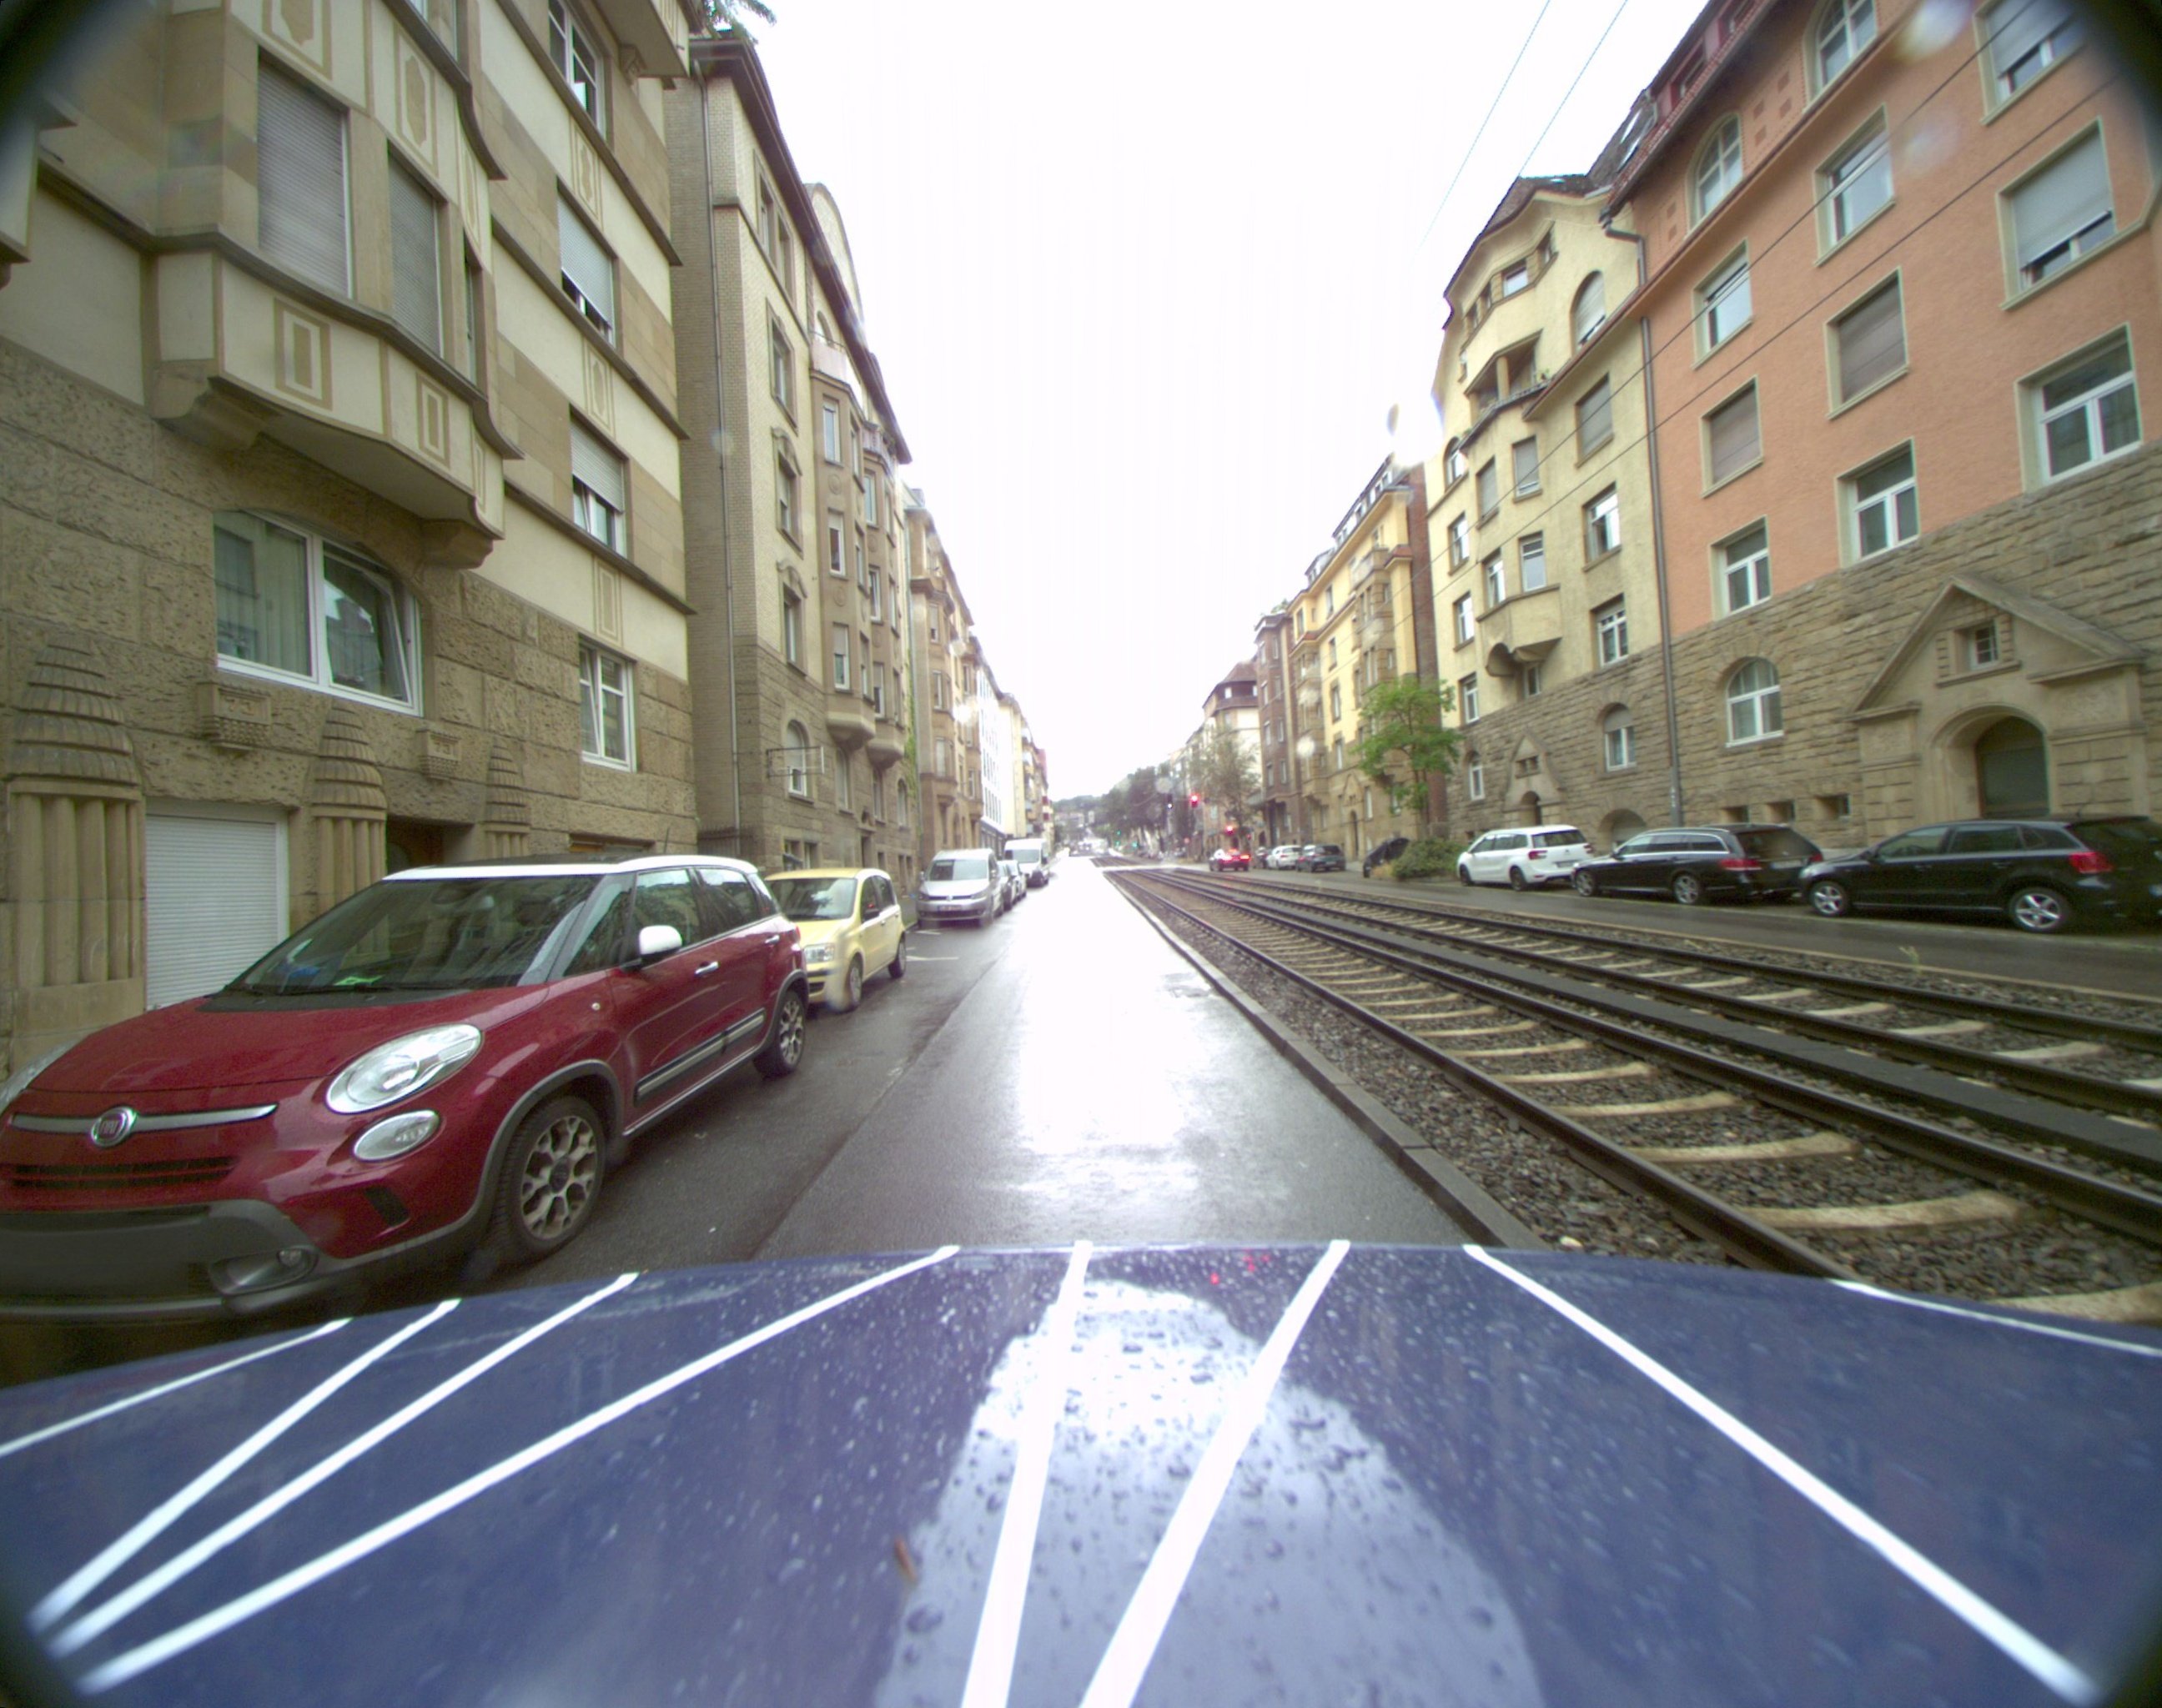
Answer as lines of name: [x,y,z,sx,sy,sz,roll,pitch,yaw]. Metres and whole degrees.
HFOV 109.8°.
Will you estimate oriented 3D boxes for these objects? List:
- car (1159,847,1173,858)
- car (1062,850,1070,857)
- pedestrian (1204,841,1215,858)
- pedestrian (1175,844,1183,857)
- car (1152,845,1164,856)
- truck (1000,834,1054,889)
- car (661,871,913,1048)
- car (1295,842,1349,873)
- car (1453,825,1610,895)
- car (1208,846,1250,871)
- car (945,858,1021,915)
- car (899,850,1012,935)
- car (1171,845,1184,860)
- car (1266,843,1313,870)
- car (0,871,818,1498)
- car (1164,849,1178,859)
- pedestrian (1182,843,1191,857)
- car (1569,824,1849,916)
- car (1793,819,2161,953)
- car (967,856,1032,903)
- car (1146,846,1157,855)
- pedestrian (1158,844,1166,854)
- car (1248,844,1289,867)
car: [12.866,-0.241,115.363,1.771,1.507,3.845,-3,0,1]
car: [-3.834,-0.156,194.324,1.998,1.838,4.000,-3,0,1]
pedestrian: [14.954,-0.519,88.542,1.056,1.946,1.163,-3,1,2]
pedestrian: [14.955,-0.569,116.146,1.056,1.946,1.163,-3,1,2]
car: [12.835,-0.595,126.833,1.657,1.589,3.775,-3,0,1]
truck: [-2.725,0.354,39.942,2.235,2.521,6.143,-3,0,1]
car: [-3.190,1.044,9.037,1.580,1.520,3.578,-3,0,-1]
car: [12.503,0.152,39.612,1.678,1.433,3.845,-4,1,3]
car: [12.272,0.152,21.044,1.867,1.646,4.146,-3,0,1]
car: [9.625,0.273,49.727,1.807,1.514,4.964,-2,0,1]
car: [-2.966,0.946,23.812,1.999,1.521,3.999,-3,0,-3]
car: [-3.011,0.855,19.196,1.968,1.792,4.459,-3,0,1]
car: [12.669,-0.202,99.543,1.583,1.669,3.790,-3,2,7]
car: [12.470,0.143,45.651,1.771,1.433,4.031,-3,0,2]
car: [-3.034,0.980,4.089,1.807,1.590,3.999,-3,0,-1]
car: [12.570,-0.055,106.380,1.583,1.303,3.845,-3,0,1]
pedestrian: [16.135,-0.611,116.138,1.056,1.946,1.163,-3,1,2]
car: [12.290,0.264,15.381,1.847,1.486,4.601,-3,0,1]
car: [12.528,0.330,10.464,1.935,1.488,3.642,-2,1,-2]
car: [-2.955,0.890,28.313,1.891,1.521,3.929,-3,0,1]
car: [12.431,-0.593,133.702,1.632,1.537,3.801,-3,0,1]
pedestrian: [15.416,-0.980,144.461,1.380,1.946,1.379,-3,1,2]
car: [12.480,0.091,50.745,1.771,1.433,3.845,-3,0,1]
